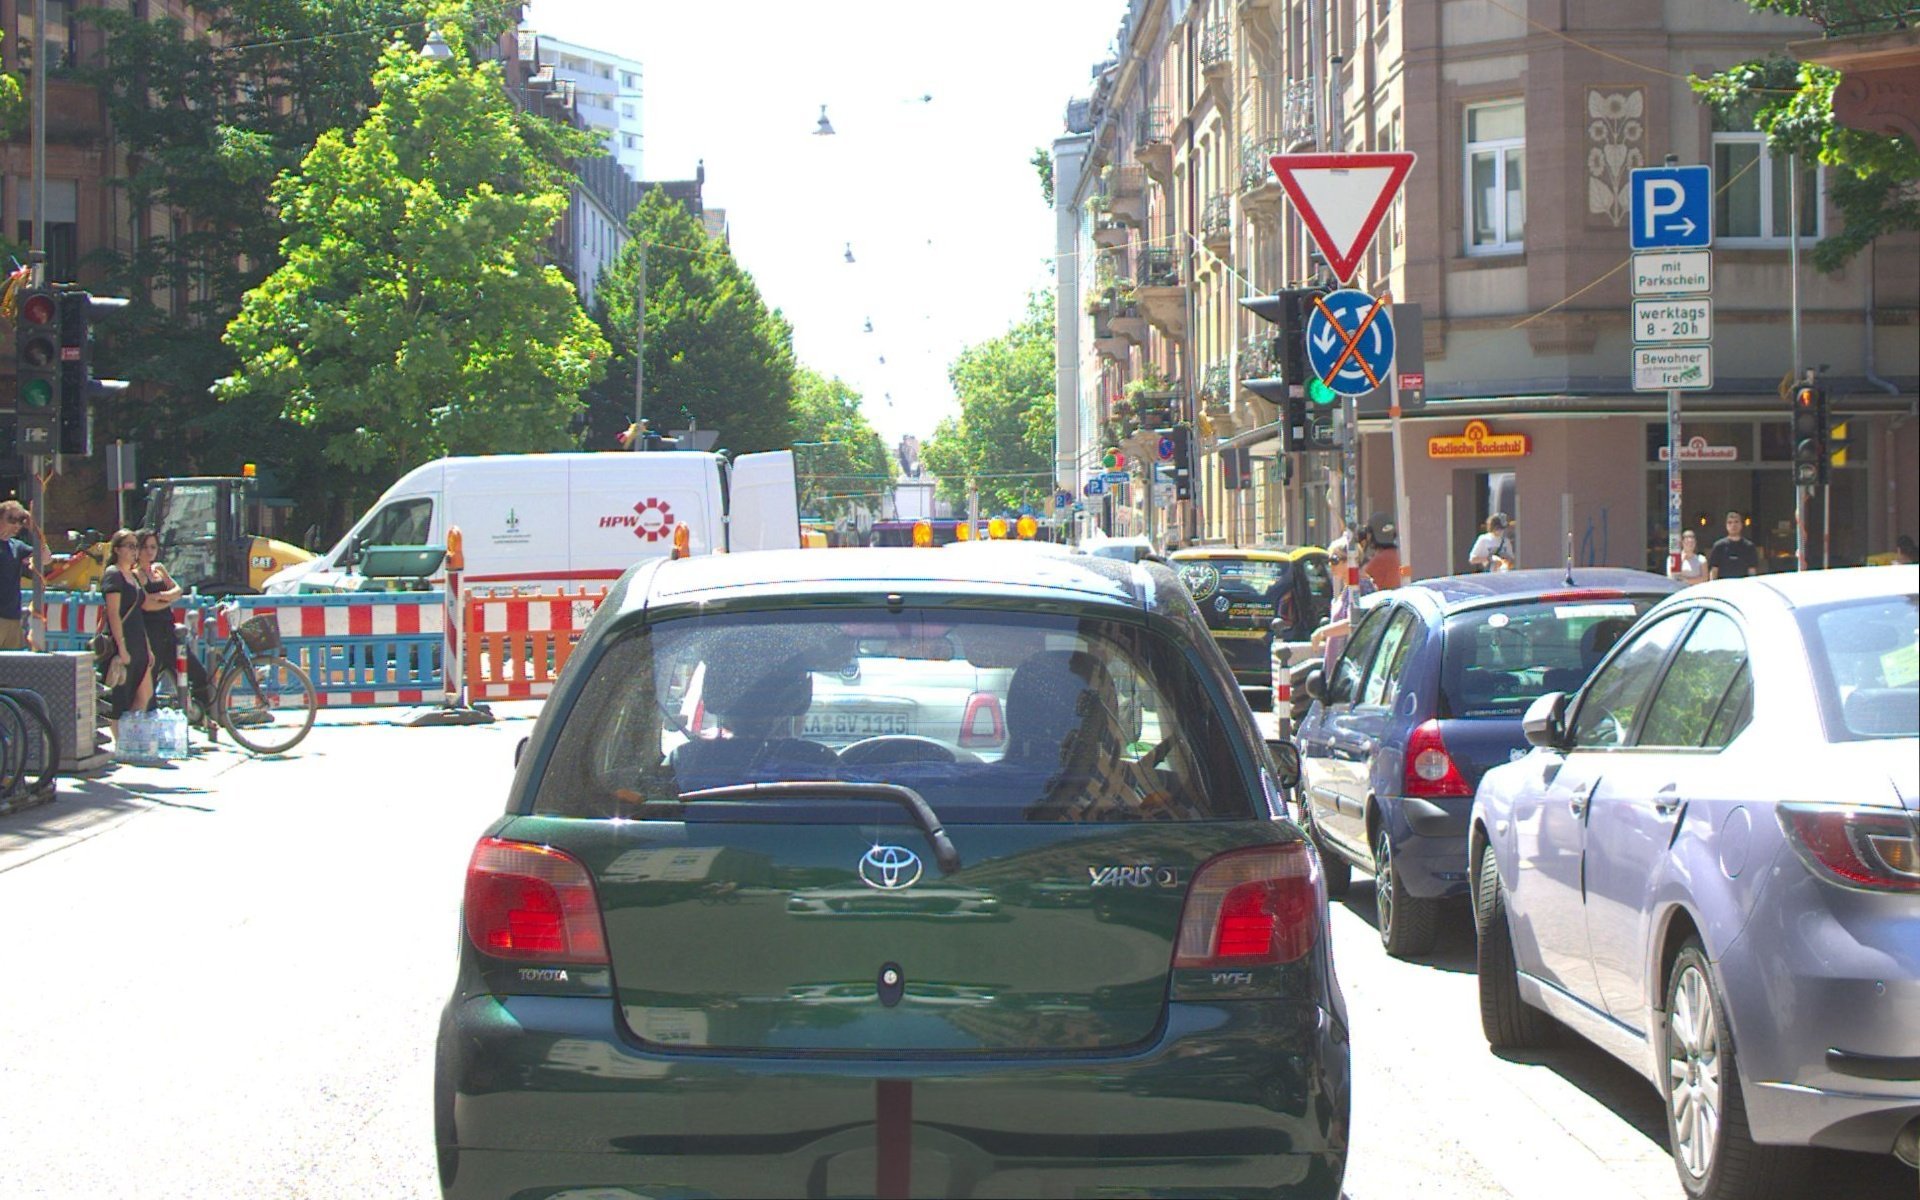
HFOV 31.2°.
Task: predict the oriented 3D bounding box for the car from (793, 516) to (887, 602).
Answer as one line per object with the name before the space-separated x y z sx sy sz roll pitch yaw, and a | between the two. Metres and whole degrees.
car | -2.479 -0.856 71.828 1.754 1.639 4.378 -3 1 0

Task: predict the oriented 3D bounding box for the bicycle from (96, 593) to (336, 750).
bicycle | -5.644 0.533 26.068 1.806 1.115 0.467 2 1 21

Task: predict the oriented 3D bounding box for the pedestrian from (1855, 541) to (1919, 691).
pedestrian | 10.287 0.170 37.651 0.801 1.618 0.643 0 1 2

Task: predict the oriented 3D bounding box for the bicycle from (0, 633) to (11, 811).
bicycle | -6.307 0.691 19.999 1.447 1.032 0.335 2 1 -4

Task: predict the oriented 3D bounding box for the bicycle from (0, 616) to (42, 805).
bicycle | -6.341 0.643 20.671 1.519 1.113 0.335 2 1 -4

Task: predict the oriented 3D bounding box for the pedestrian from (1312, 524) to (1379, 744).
pedestrian | 2.748 0.238 24.522 0.459 1.555 0.479 0 1 6

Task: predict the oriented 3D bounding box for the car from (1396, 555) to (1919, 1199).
car | 2.403 0.617 9.100 1.725 1.427 4.486 -2 1 -2

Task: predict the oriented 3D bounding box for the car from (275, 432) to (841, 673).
car | -4.858 -0.584 42.326 6.622 2.742 2.380 1 1 1

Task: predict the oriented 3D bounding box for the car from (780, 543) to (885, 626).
car | -2.294 -0.296 62.525 1.754 1.439 4.000 -1 1 0

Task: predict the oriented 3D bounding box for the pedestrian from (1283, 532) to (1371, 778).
pedestrian | 2.352 0.347 22.056 0.493 1.538 0.436 -3 0 6

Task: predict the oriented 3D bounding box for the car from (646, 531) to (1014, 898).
car | -0.571 0.446 15.996 1.522 1.516 3.264 0 1 -1

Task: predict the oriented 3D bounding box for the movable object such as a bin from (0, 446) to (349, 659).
movable object such as a bin | -10.489 -0.625 45.063 4.543 2.650 1.955 1 1 2

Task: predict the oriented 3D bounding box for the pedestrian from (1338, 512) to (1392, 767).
pedestrian | 2.677 0.258 22.748 0.332 1.670 0.401 0 1 6

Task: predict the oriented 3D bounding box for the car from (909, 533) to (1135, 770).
car | 0.491 0.319 24.924 1.522 1.587 3.264 0 1 3

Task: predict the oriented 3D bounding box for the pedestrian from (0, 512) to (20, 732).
pedestrian | -7.341 0.160 25.629 0.509 1.627 0.600 0 1 -3

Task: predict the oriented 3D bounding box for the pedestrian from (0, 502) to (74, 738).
pedestrian | -7.235 0.150 26.783 0.509 1.813 0.600 0 1 -3

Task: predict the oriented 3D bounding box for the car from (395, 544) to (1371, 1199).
car | -0.074 0.633 7.319 1.614 1.480 3.241 0 1 2

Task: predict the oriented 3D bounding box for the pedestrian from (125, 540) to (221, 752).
pedestrian | -5.919 0.340 25.852 0.496 1.560 0.459 2 2 26

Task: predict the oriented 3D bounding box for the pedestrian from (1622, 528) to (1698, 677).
pedestrian | 7.976 0.019 39.181 0.701 1.639 0.423 -3 4 -8

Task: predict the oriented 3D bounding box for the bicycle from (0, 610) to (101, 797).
bicycle | -6.293 0.621 21.298 1.797 1.119 0.578 2 0 -6

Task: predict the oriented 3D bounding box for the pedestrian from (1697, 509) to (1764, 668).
pedestrian | 8.818 -0.140 39.356 0.575 1.762 0.472 -3 4 -8

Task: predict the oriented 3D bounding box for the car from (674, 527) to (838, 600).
car | -6.185 -1.111 104.313 4.557 2.180 2.000 -1 1 -27

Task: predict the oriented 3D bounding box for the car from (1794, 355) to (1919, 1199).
car | 2.353 0.529 3.363 1.824 1.761 4.338 -2 1 -2

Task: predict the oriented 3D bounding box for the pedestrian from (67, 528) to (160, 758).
pedestrian | -6.054 0.301 24.601 0.541 1.627 0.511 0 1 -3

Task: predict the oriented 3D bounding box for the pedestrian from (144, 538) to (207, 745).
pedestrian | -6.184 0.320 27.122 0.389 1.612 0.475 0 1 -3

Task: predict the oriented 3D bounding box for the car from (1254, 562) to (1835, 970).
car | 2.284 0.580 14.320 1.627 1.427 3.661 -2 1 -2

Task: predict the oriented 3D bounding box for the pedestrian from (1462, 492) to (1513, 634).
pedestrian | 6.515 -0.449 42.475 0.478 1.727 0.871 0 0 19

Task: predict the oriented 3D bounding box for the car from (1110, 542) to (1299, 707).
car | 2.357 0.188 32.494 1.627 1.427 3.659 -1 1 6
